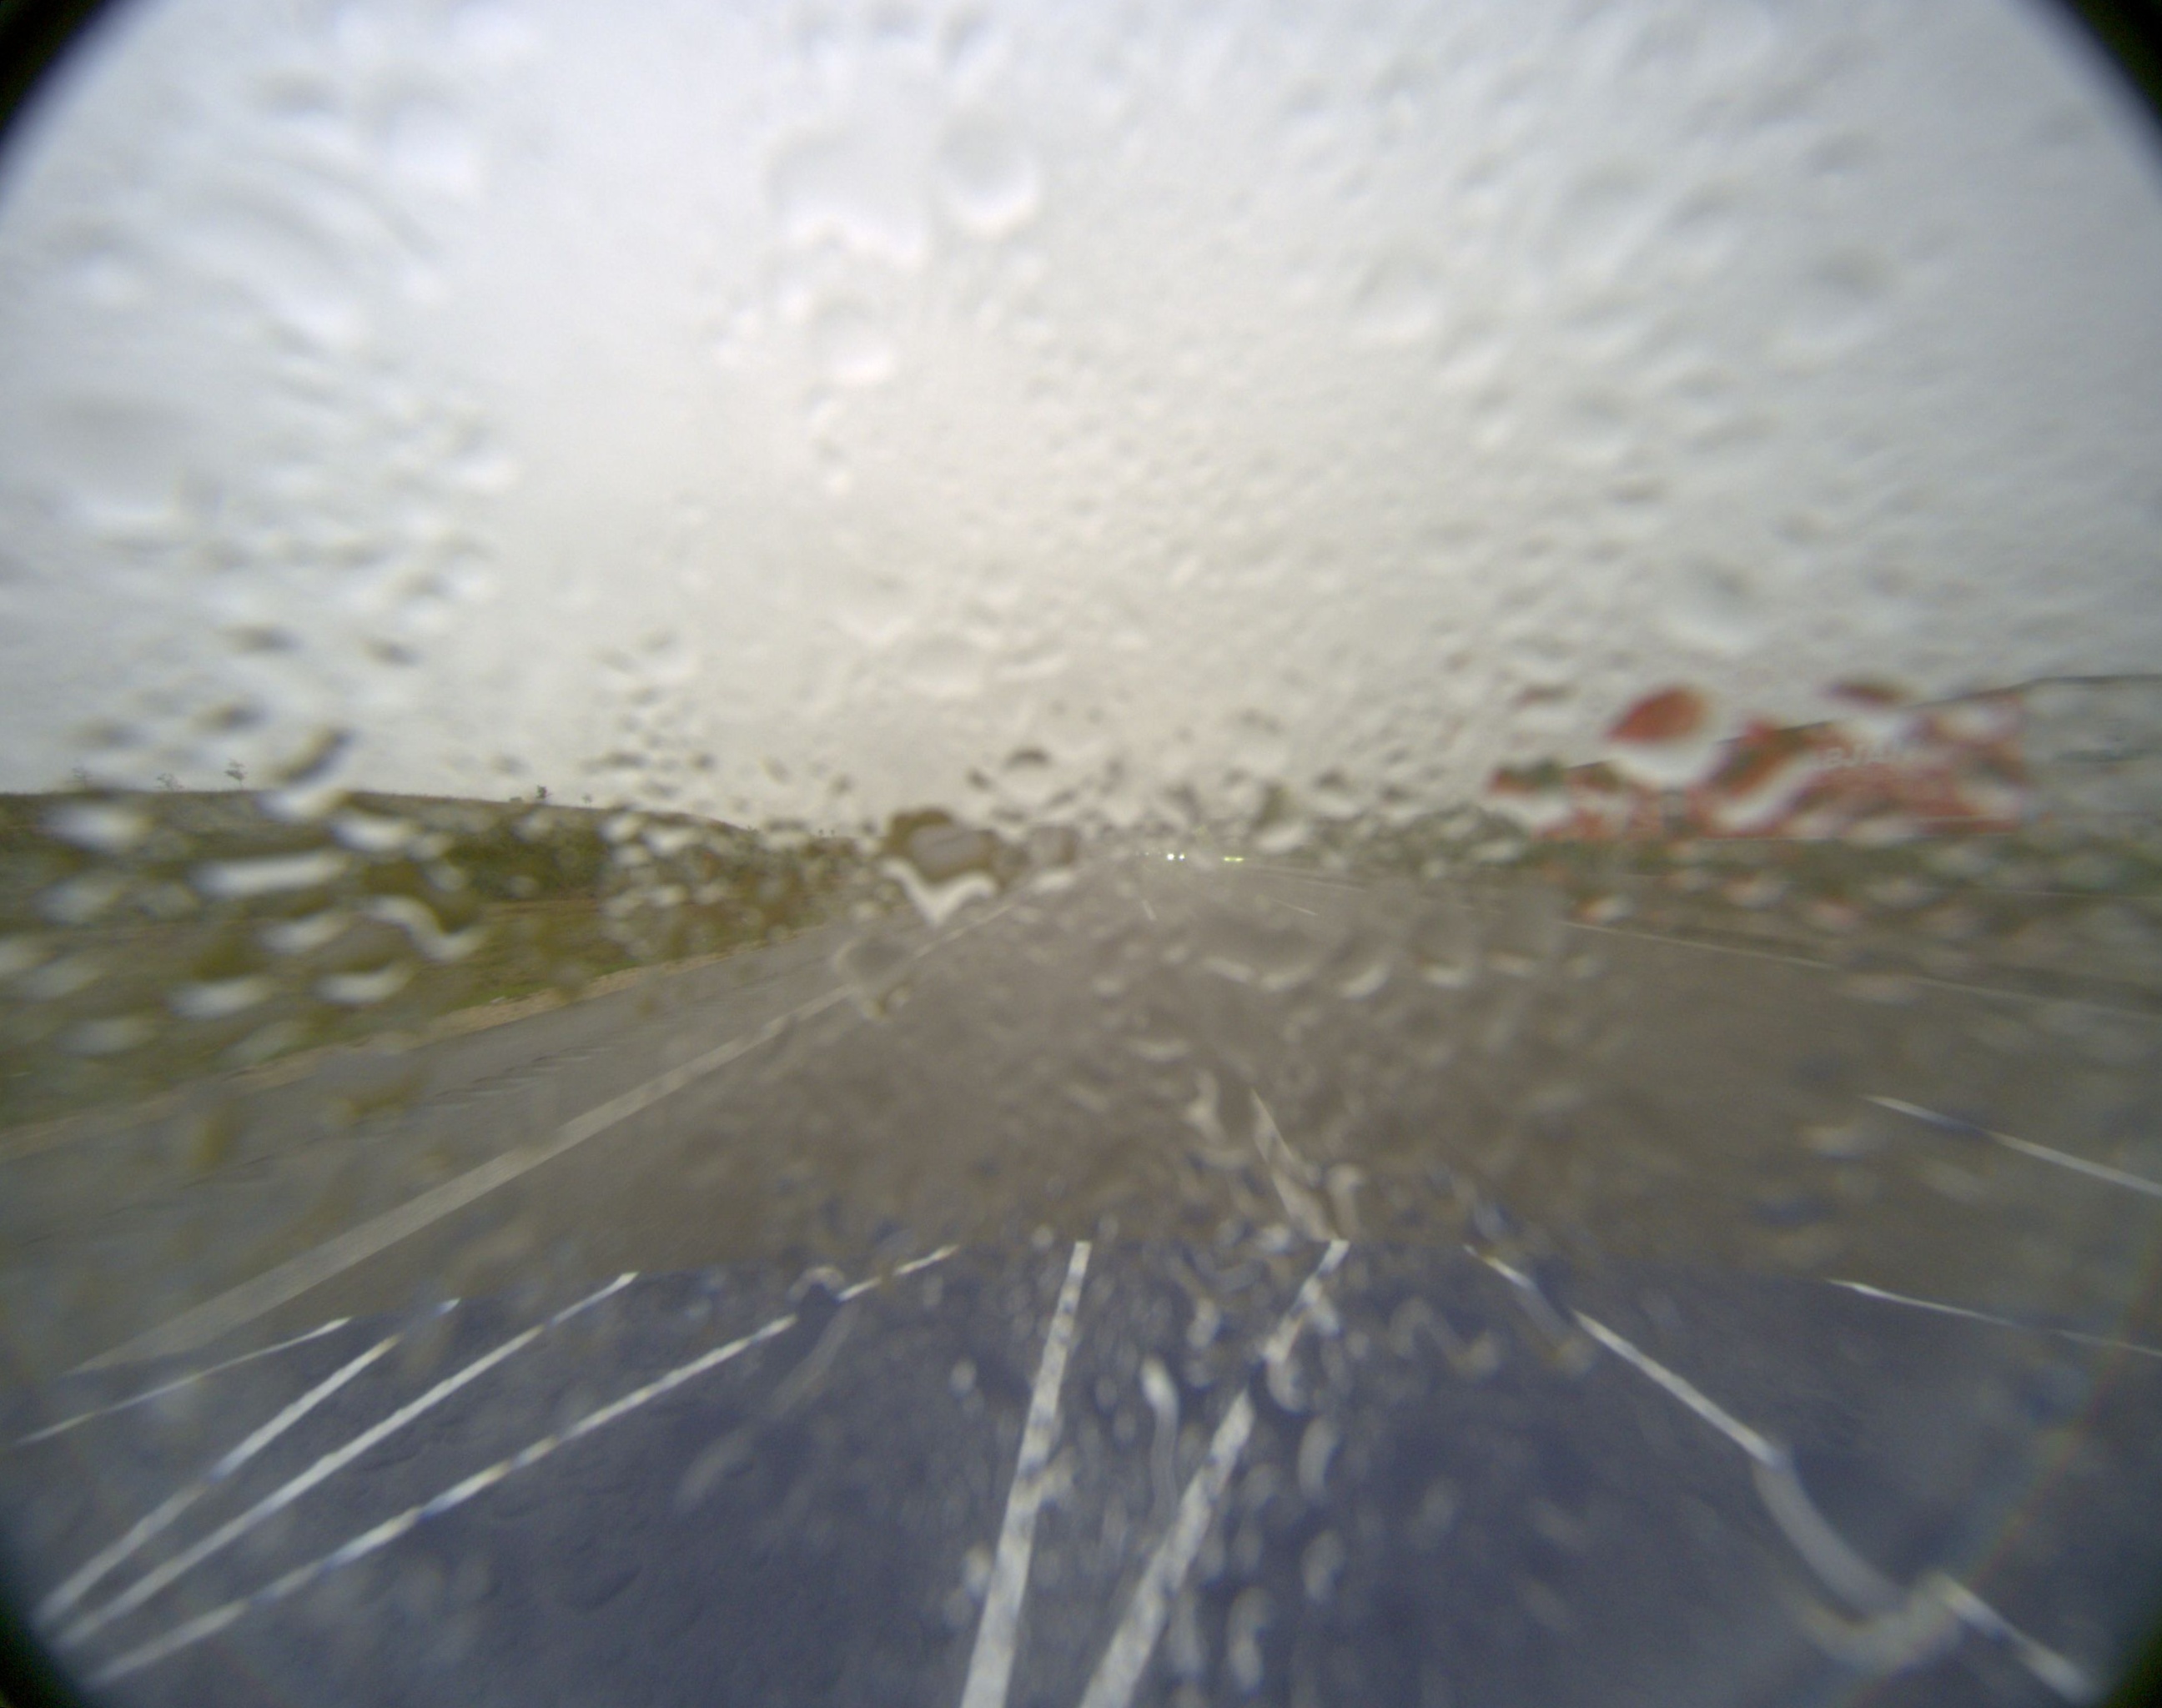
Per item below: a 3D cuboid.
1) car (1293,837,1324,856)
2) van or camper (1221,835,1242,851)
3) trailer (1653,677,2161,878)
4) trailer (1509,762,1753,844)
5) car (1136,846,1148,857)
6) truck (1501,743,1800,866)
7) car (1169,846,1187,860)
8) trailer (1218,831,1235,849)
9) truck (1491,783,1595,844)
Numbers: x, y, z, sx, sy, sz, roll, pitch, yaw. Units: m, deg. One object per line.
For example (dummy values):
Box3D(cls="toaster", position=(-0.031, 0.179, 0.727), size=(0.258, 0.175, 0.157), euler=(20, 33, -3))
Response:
Box3D(cls="car", position=(17.100, -0.554, 57.284), size=(1.399, 1.343, 3.089), euler=(-2, 1, 1))
Box3D(cls="van or camper", position=(25.767, -1.858, 130.051), size=(2.379, 2.494, 6.757), euler=(-2, 0, 2))
Box3D(cls="trailer", position=(18.398, -1.372, 17.850), size=(3.264, 3.436, 9.443), euler=(-1, 1, 3))
Box3D(cls="trailer", position=(27.903, -2.301, 40.140), size=(3.122, 3.398, 14.236), euler=(-1, 1, 3))
Box3D(cls="car", position=(9.166, -0.341, 114.462), size=(1.700, 1.543, 3.733), euler=(-2, 1, 3))
Box3D(cls="truck", position=(18.910, -1.438, 26.566), size=(3.273, 3.421, 10.131), euler=(-1, 1, 3))
Box3D(cls="car", position=(11.121, -0.118, 87.531), size=(1.700, 1.543, 3.733), euler=(-2, 1, 3))
Box3D(cls="trailer", position=(34.040, -3.145, 177.837), size=(2.229, 3.974, 14.209), euler=(-1, 1, 5))
Box3D(cls="truck", position=(28.232, -2.375, 46.738), size=(3.106, 3.402, 5.685), euler=(-1, 1, 2))
